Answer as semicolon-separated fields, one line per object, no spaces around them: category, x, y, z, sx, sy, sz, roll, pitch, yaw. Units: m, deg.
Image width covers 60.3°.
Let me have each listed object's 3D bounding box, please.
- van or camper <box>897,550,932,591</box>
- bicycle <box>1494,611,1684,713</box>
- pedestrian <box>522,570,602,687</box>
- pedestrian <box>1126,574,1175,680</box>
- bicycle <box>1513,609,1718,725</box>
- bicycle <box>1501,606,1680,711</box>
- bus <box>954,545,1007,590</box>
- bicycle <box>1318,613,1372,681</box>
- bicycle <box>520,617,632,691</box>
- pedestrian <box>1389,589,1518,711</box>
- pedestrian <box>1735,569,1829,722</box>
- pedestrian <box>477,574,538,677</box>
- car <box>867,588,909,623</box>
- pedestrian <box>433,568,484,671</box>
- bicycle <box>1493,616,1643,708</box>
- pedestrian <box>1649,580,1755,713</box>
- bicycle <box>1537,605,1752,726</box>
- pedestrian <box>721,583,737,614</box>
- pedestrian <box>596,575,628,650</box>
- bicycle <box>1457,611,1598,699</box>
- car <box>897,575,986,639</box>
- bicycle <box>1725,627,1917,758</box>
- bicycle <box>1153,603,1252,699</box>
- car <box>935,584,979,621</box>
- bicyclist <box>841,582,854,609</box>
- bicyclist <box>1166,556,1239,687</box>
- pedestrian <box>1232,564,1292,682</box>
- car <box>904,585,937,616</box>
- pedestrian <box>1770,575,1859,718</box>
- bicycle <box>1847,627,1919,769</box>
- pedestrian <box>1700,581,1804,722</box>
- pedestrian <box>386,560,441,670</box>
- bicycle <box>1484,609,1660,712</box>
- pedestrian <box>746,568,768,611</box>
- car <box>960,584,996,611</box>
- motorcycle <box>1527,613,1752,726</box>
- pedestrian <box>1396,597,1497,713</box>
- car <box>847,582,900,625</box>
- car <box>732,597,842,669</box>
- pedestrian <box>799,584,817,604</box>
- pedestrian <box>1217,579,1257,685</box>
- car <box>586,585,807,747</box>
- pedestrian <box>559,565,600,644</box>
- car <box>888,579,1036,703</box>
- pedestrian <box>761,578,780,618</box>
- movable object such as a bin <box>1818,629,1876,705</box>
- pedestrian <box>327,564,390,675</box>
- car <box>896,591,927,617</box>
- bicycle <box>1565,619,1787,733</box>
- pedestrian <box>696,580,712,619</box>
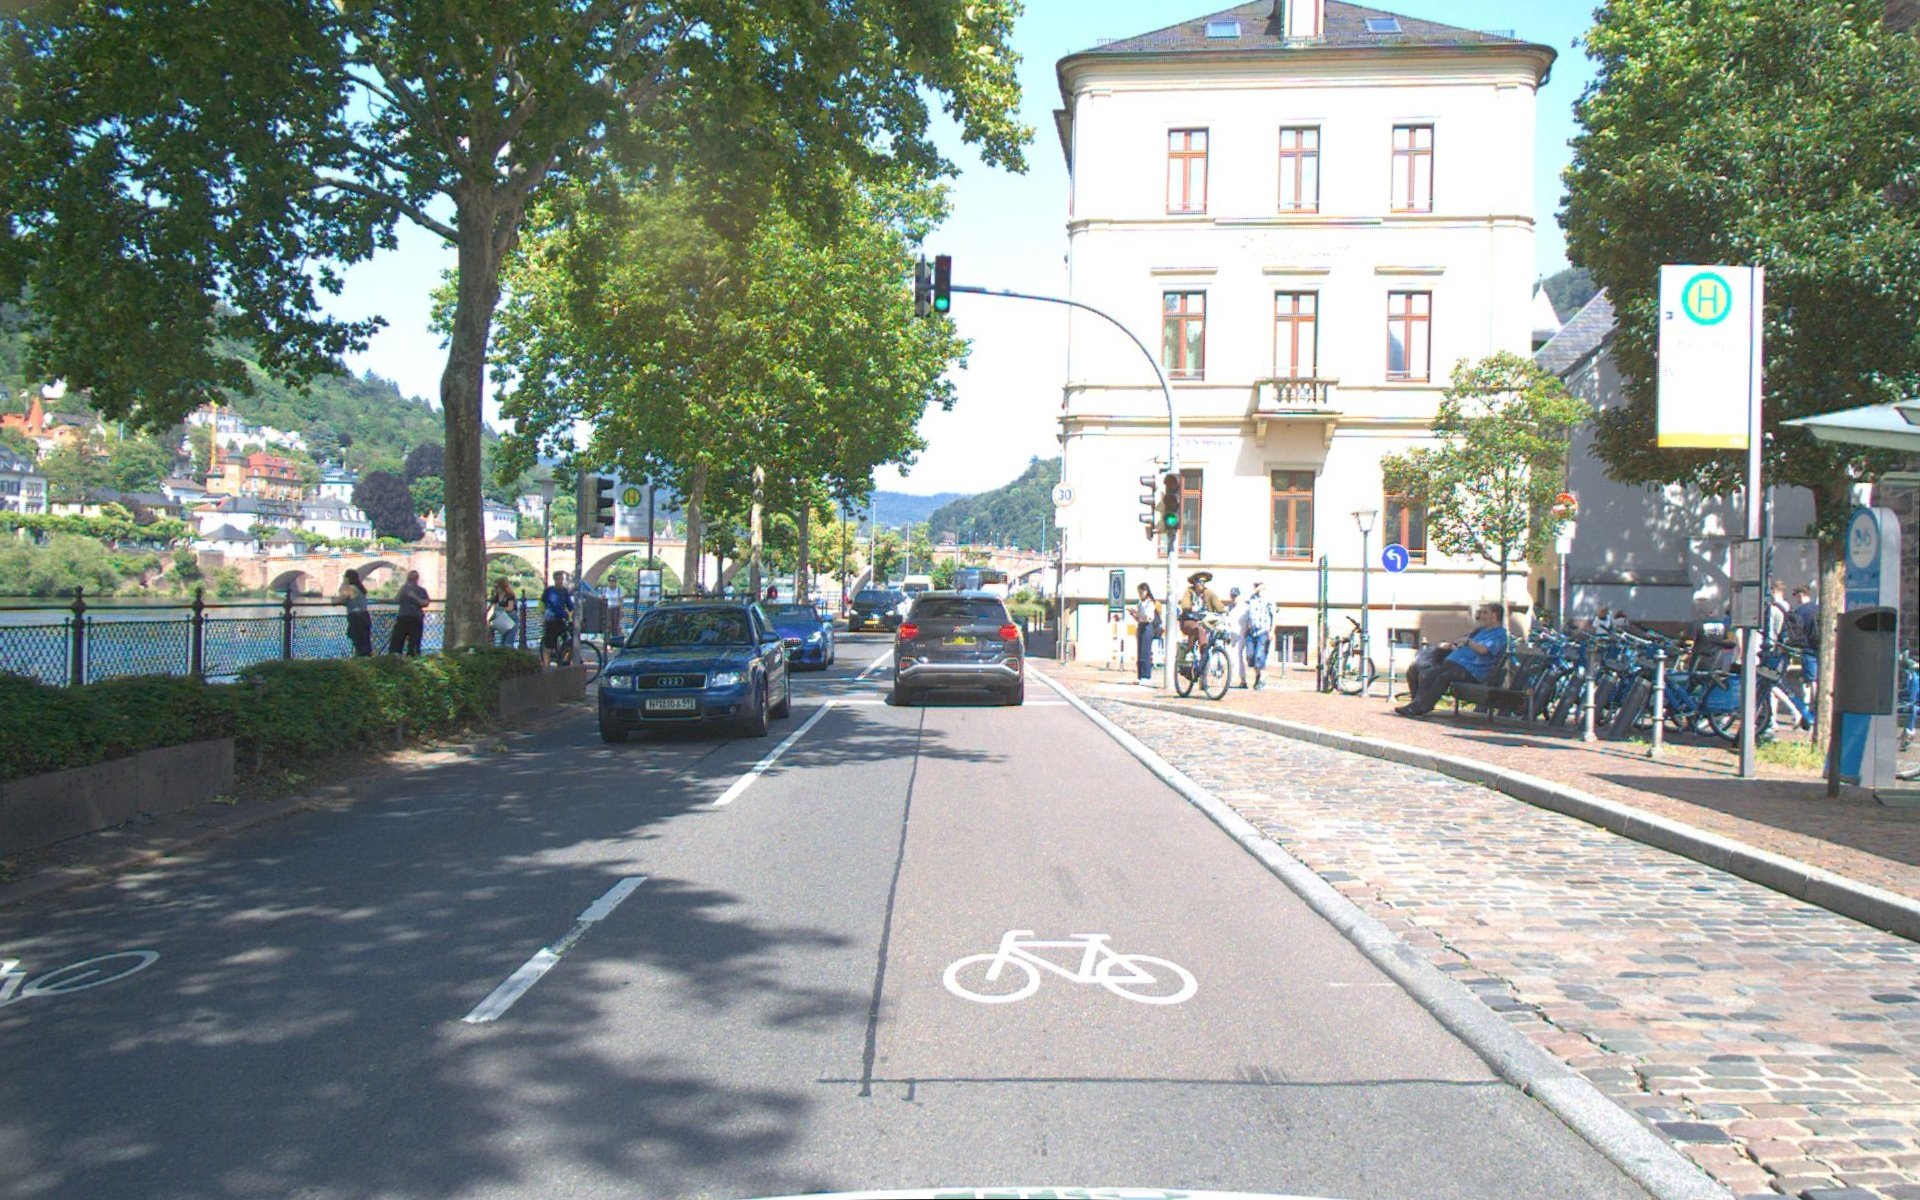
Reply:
van or camper;-3.062;-1.983;113.675;2.044;2.601;7.092;2;0;1
bicycle;7.579;0.740;19.964;2.038;1.104;0.604;2;1;-2
pedestrian;-6.312;0.436;26.241;1.006;1.804;0.765;1;0;40
pedestrian;3.146;0.440;27.346;0.701;1.705;0.682;1;0;-1
bicycle;7.602;0.770;19.245;2.038;1.219;0.776;2;1;-2
bicycle;7.983;0.734;20.973;2.038;1.219;0.527;2;1;-2
bus;1.969;-2.885;150.742;2.575;3.626;12.993;1;0;10
bicycle;6.069;0.761;26.106;0.497;1.021;1.580;2;-3;2
bicycle;-6.053;0.844;26.046;1.798;0.941;0.738;7;3;40
pedestrian;5.569;0.556;18.702;1.222;1.330;0.693;1;0;-3
pedestrian;11.007;0.594;22.170;0.643;1.994;0.936;1;0;-16
pedestrian;-7.832;0.434;28.652;0.818;1.743;0.782;1;0;-1
car;-3.321;0.213;75.664;1.702;1.544;4.399;0;1;-6
pedestrian;-8.599;0.321;28.355;0.639;1.743;0.793;0;0;-1
bicycle;8.162;0.821;22.239;1.756;1.129;0.608;2;1;-2
pedestrian;10.333;0.637;23.048;0.974;1.796;0.920;1;0;-25
bicycle;7.622;0.722;18.461;2.038;1.219;0.776;2;1;-2
pedestrian;-12.423;-0.105;89.102;0.679;1.644;0.664;1;0;7
pedestrian;-7.722;0.272;36.728;0.483;1.645;0.991;1;0;-1
bicycle;8.006;0.769;23.362;1.756;1.129;0.563;2;1;-2
car;-0.416;0.146;42.102;1.886;1.486;4.834;1;1;3
bicycle;8.521;0.902;16.412;1.515;1.219;0.725;1;0;5
bicycle;3.120;0.633;21.474;0.676;1.149;2.005;1;0;-9
car;-0.134;0.097;73.614;1.887;1.580;4.832;0;0;0
bicyclist;-6.999;-0.277;102.821;0.704;1.611;1.089;1;0;1
bicyclist;3.142;0.278;21.496;0.695;1.656;0.885;1;0;-8
pedestrian;4.945;0.368;27.086;0.611;1.884;0.720;1;0;-37
car;-2.143;-0.014;88.643;1.667;1.470;4.091;2;2;-2
pedestrian;12.121;0.648;23.469;0.793;1.975;0.783;1;0;-28
bicycle;8.224;0.819;13.478;0.540;1.151;1.720;1;0;-30
pedestrian;10.247;0.653;21.425;0.791;1.784;0.904;1;0;-20
pedestrian;-8.802;0.242;26.666;0.606;1.730;0.696;2;0;-1
bicycle;7.967;0.783;21.575;2.038;1.219;0.608;2;1;-2
pedestrian;-7.728;-0.408;62.959;0.746;1.614;0.696;1;0;-1
car;1.101;-0.154;100.533;1.886;1.580;4.835;0;0;4
motorcycle;7.559;0.768;18.459;2.160;1.123;0.776;2;1;-2
pedestrian;5.695;0.634;19.385;0.941;1.304;0.693;2;0;-3
car;-3.219;0.114;62.060;1.666;1.544;4.405;-1;0;1
car;-3.427;0.624;33.466;1.803;1.291;4.261;-2;0;-1
pedestrian;-9.759;-0.388;106.340;0.916;1.303;0.850;1;0;8
pedestrian;4.626;0.531;27.673;0.516;1.742;0.665;1;0;-1
car;-2.814;0.644;18.580;1.666;1.544;4.405;-2;0;1
pedestrian;-8.842;0.101;38.431;0.697;1.795;0.972;1;0;-1
car;0.005;0.501;23.643;1.887;1.580;4.831;0;0;-1
pedestrian;-8.315;-0.104;72.538;0.643;1.711;0.758;4;0;-1
movable object such as a bin;13.801;1.038;25.743;0.479;1.143;0.751;1;0;0
pedestrian;-9.199;0.285;25.315;0.538;1.636;0.911;3;0;-1
car;-2.878;0.218;98.666;1.666;1.484;4.002;1;0;0
bicycle;7.614;0.798;17.644;1.984;1.084;0.800;2;1;-2
pedestrian;-13.098;-0.014;84.560;0.679;1.979;0.886;1;0;-1
